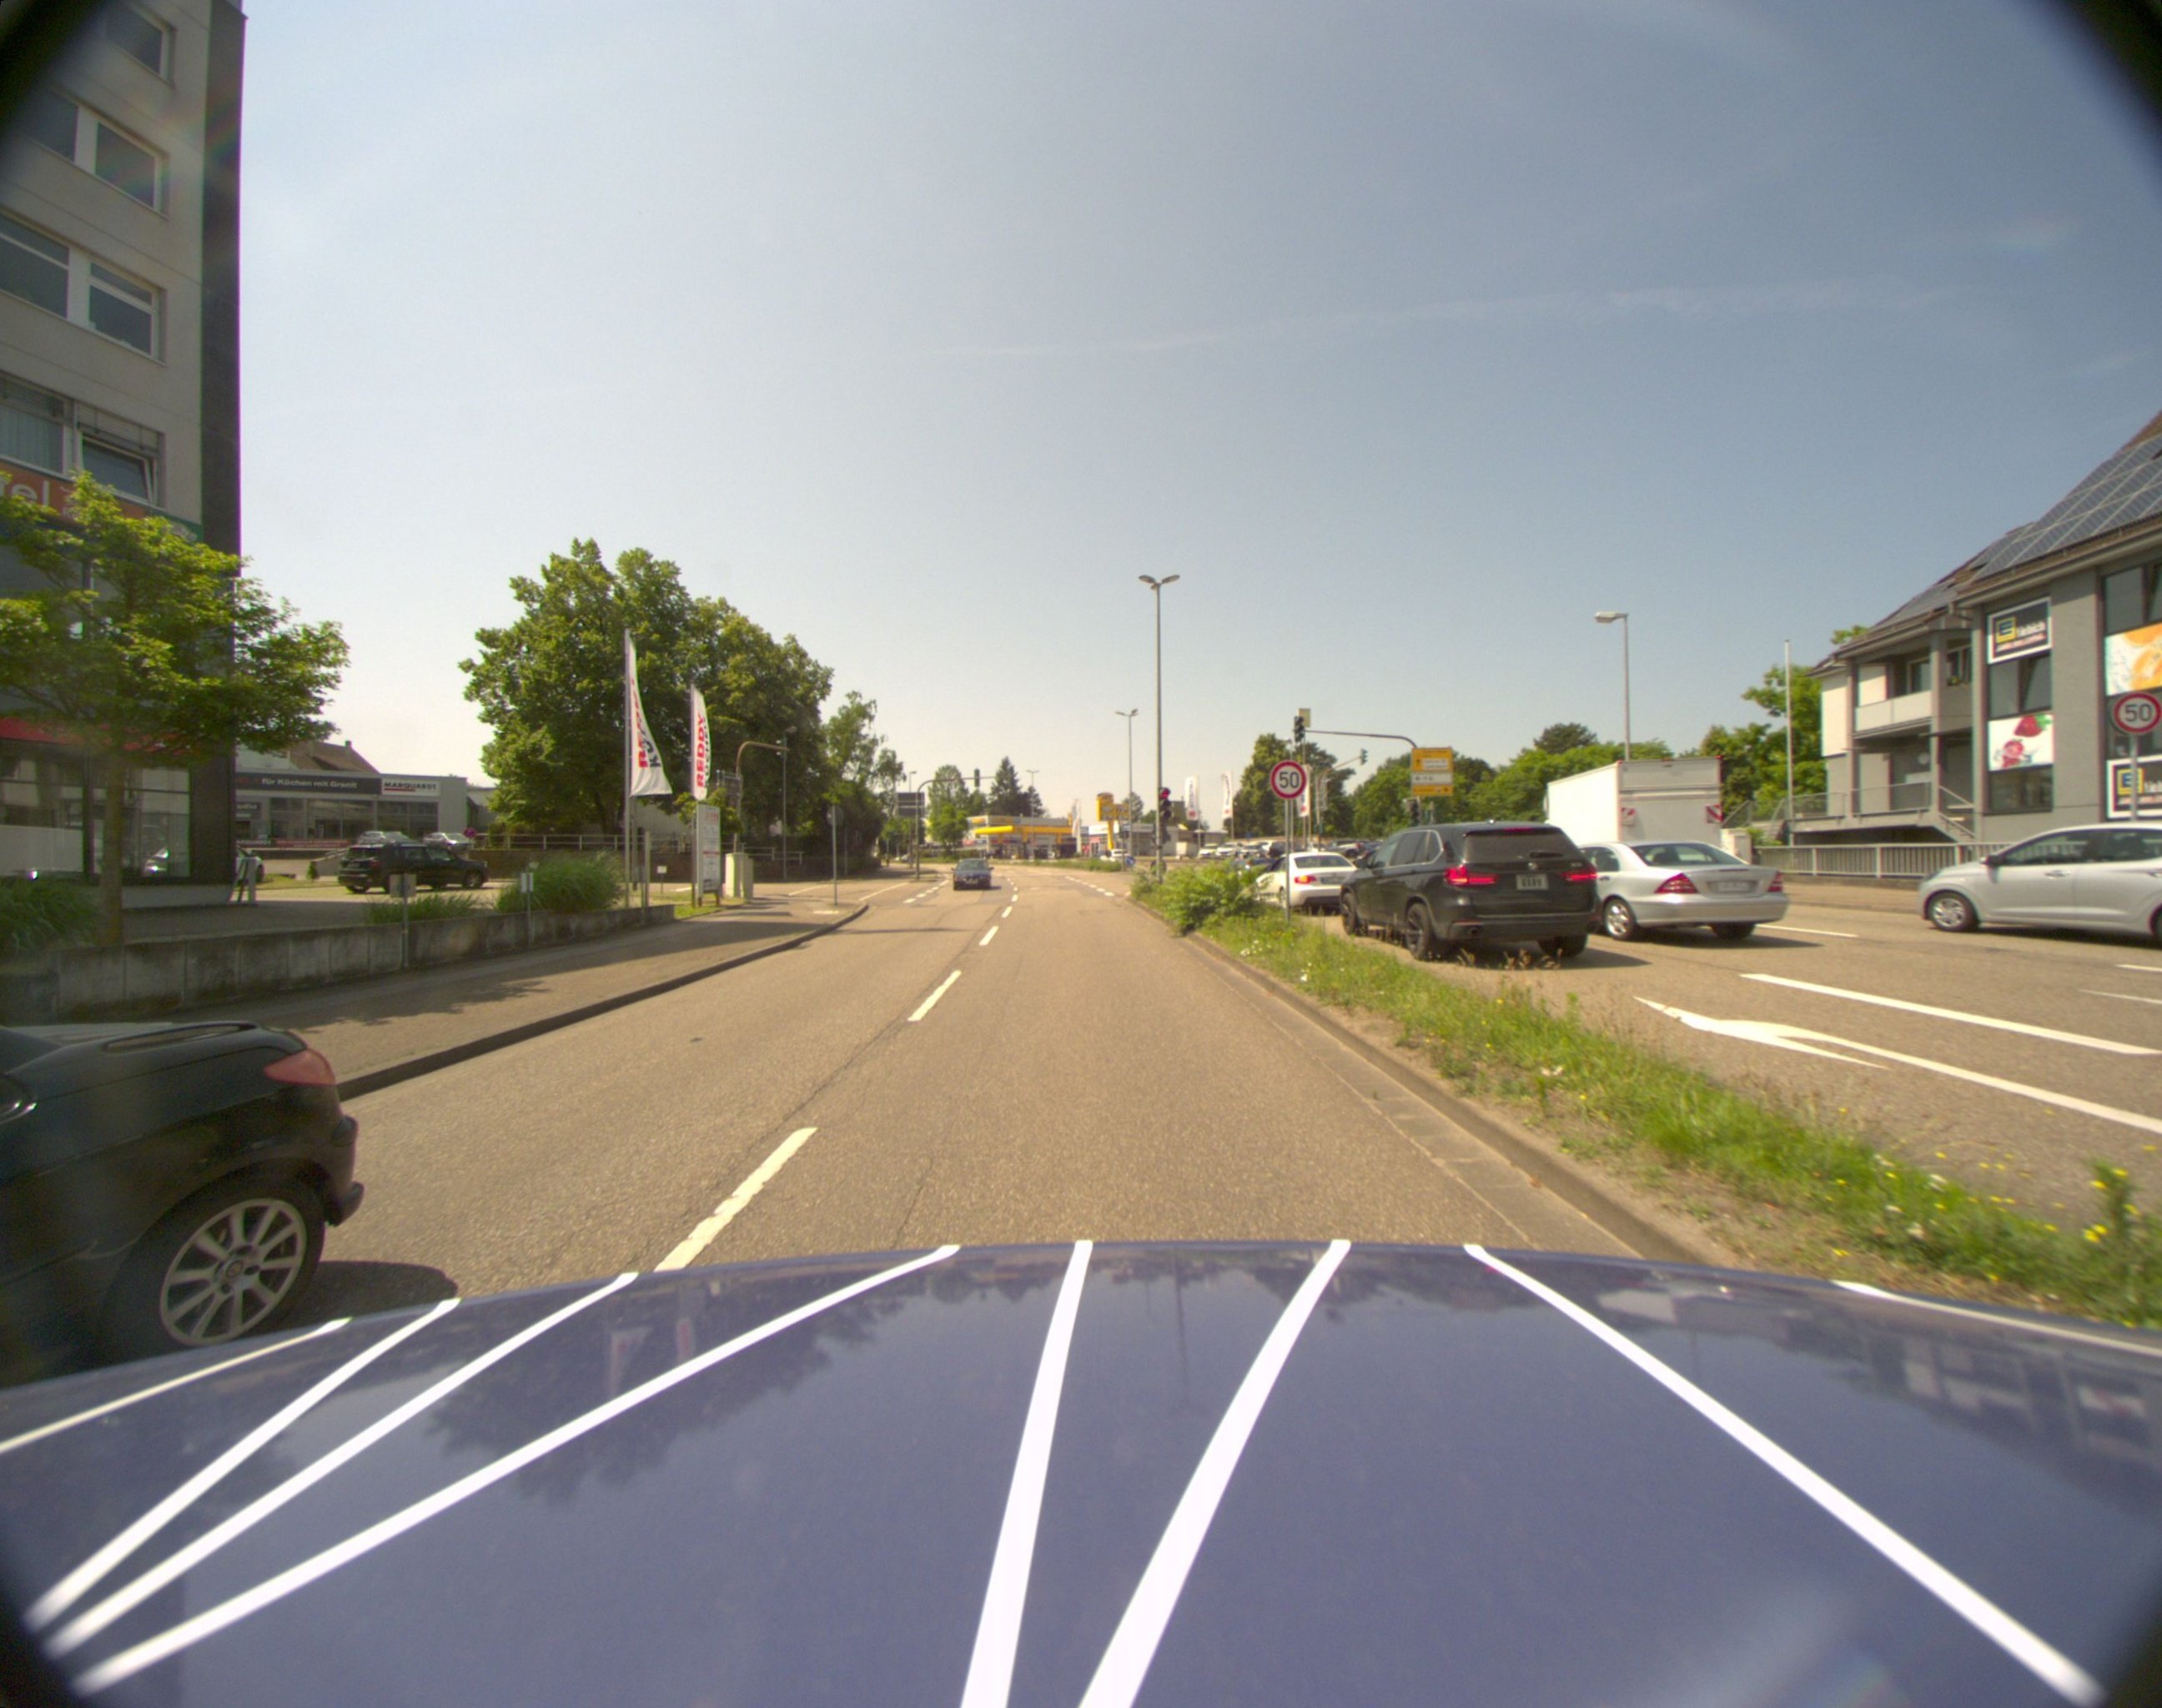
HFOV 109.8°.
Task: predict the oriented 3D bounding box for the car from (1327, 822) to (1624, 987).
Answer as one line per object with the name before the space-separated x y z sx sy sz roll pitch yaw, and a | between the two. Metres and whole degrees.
car | 5.136 0.512 10.789 1.913 1.741 4.760 -3 1 3

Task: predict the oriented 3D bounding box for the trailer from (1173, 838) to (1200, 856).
trailer | 10.573 -0.700 75.967 1.689 1.694 2.439 -1 1 38

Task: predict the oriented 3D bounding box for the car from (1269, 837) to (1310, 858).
car | 17.811 -0.560 65.196 1.846 1.714 4.009 -1 2 -10

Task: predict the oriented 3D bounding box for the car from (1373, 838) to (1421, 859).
car | 25.735 -0.466 61.981 1.796 1.528 3.996 -2 1 -9

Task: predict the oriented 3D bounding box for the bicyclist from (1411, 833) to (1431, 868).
bicyclist | 16.064 -0.149 35.922 0.422 1.633 0.820 -2 0 -14

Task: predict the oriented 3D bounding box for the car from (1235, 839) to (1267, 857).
car | 15.248 -0.556 67.997 1.711 1.424 3.969 0 2 29

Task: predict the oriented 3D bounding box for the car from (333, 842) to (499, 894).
car | -23.269 0.440 26.824 1.541 1.666 4.332 -1 1 11

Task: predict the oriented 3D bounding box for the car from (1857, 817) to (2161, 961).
car | 12.742 0.340 9.492 1.902 1.557 4.198 -1 1 2

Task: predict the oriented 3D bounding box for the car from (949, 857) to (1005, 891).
car | -4.663 0.864 34.606 1.697 1.365 4.001 -1 1 5

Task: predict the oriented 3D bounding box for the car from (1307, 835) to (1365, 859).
car | 20.838 -0.601 62.092 4.298 1.891 1.832 1 3 27

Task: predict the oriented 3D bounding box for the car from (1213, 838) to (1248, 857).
car | 13.846 -0.608 70.208 1.913 1.532 3.969 -1 2 30

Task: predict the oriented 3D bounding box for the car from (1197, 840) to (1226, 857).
car | 12.485 -0.521 72.453 1.753 1.501 3.826 -1 1 26

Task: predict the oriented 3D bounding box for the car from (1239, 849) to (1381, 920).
car | 5.269 0.612 18.184 1.868 1.423 4.743 -2 1 -1

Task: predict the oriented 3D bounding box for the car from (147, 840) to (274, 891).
car | -29.615 0.338 26.014 1.546 1.524 4.215 -4 2 -31

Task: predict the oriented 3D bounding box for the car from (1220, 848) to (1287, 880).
car | 7.786 0.424 34.670 1.868 1.358 4.345 -1 0 -3

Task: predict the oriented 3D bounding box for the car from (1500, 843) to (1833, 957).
car | 8.389 0.543 11.490 1.902 1.353 4.198 -1 1 2

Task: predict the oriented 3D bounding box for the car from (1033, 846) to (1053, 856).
car | -6.621 -0.531 131.831 1.659 1.534 4.203 -3 2 -29

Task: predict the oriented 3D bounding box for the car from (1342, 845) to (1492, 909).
car | 8.575 0.511 19.893 1.806 1.431 4.575 -2 1 -1

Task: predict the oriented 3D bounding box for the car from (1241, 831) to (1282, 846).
car | 20.496 -1.727 86.282 1.697 1.640 4.746 -2 1 -30

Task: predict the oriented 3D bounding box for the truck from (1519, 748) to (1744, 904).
truck | 14.231 -0.712 20.382 2.268 3.398 7.043 -2 2 13

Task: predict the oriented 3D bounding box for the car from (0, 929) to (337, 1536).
car | -3.479 1.028 0.889 1.604 1.416 3.660 -4 0 -2

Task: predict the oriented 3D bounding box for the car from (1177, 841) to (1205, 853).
car | 13.708 -0.866 94.800 1.697 1.497 3.623 -2 1 -28

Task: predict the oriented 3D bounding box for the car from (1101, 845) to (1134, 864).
car | 3.133 0.013 65.834 1.823 1.561 4.551 -3 1 -11
